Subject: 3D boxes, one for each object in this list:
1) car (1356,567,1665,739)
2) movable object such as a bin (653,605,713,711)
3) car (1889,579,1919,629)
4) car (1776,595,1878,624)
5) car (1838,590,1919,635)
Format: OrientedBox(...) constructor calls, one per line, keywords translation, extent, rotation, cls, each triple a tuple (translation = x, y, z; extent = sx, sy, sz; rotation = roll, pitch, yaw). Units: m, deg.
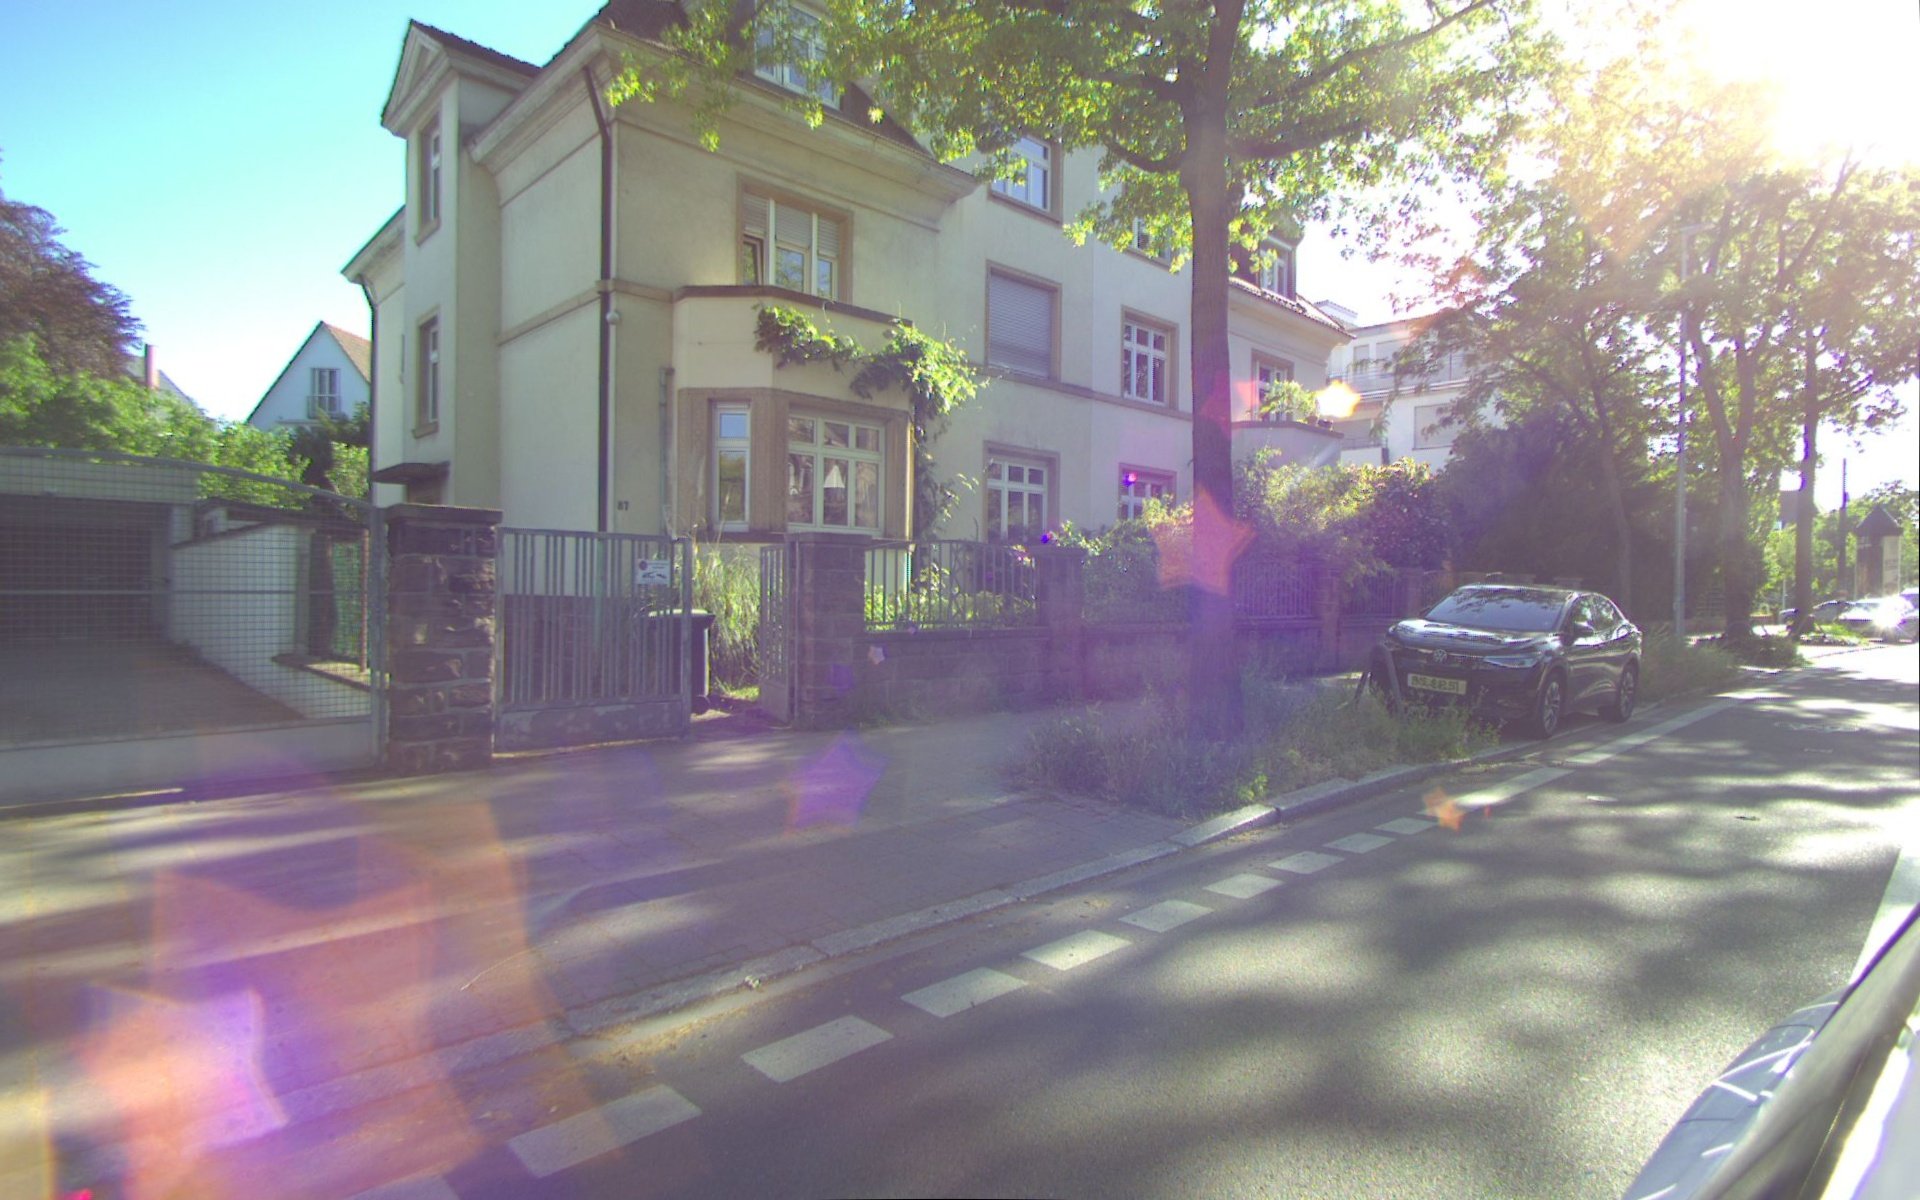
OrientedBox(translation=(6.705, 0.500, 12.139), extent=(4.186, 1.619, 1.917), rotation=(0, 4, -42), cls="car")
OrientedBox(translation=(-2.927, 0.589, 10.673), extent=(0.551, 1.062, 0.676), rotation=(0, 0, -20), cls="movable object such as a bin")
OrientedBox(translation=(36.667, 0.136, 37.858), extent=(4.580, 1.808, 1.903), rotation=(0, 1, -35), cls="car")
OrientedBox(translation=(46.061, 0.467, 53.842), extent=(1.784, 1.459, 3.990), rotation=(0, 1, -44), cls="car")
OrientedBox(translation=(31.507, 0.389, 34.276), extent=(4.181, 1.427, 1.901), rotation=(0, 1, -38), cls="car")
